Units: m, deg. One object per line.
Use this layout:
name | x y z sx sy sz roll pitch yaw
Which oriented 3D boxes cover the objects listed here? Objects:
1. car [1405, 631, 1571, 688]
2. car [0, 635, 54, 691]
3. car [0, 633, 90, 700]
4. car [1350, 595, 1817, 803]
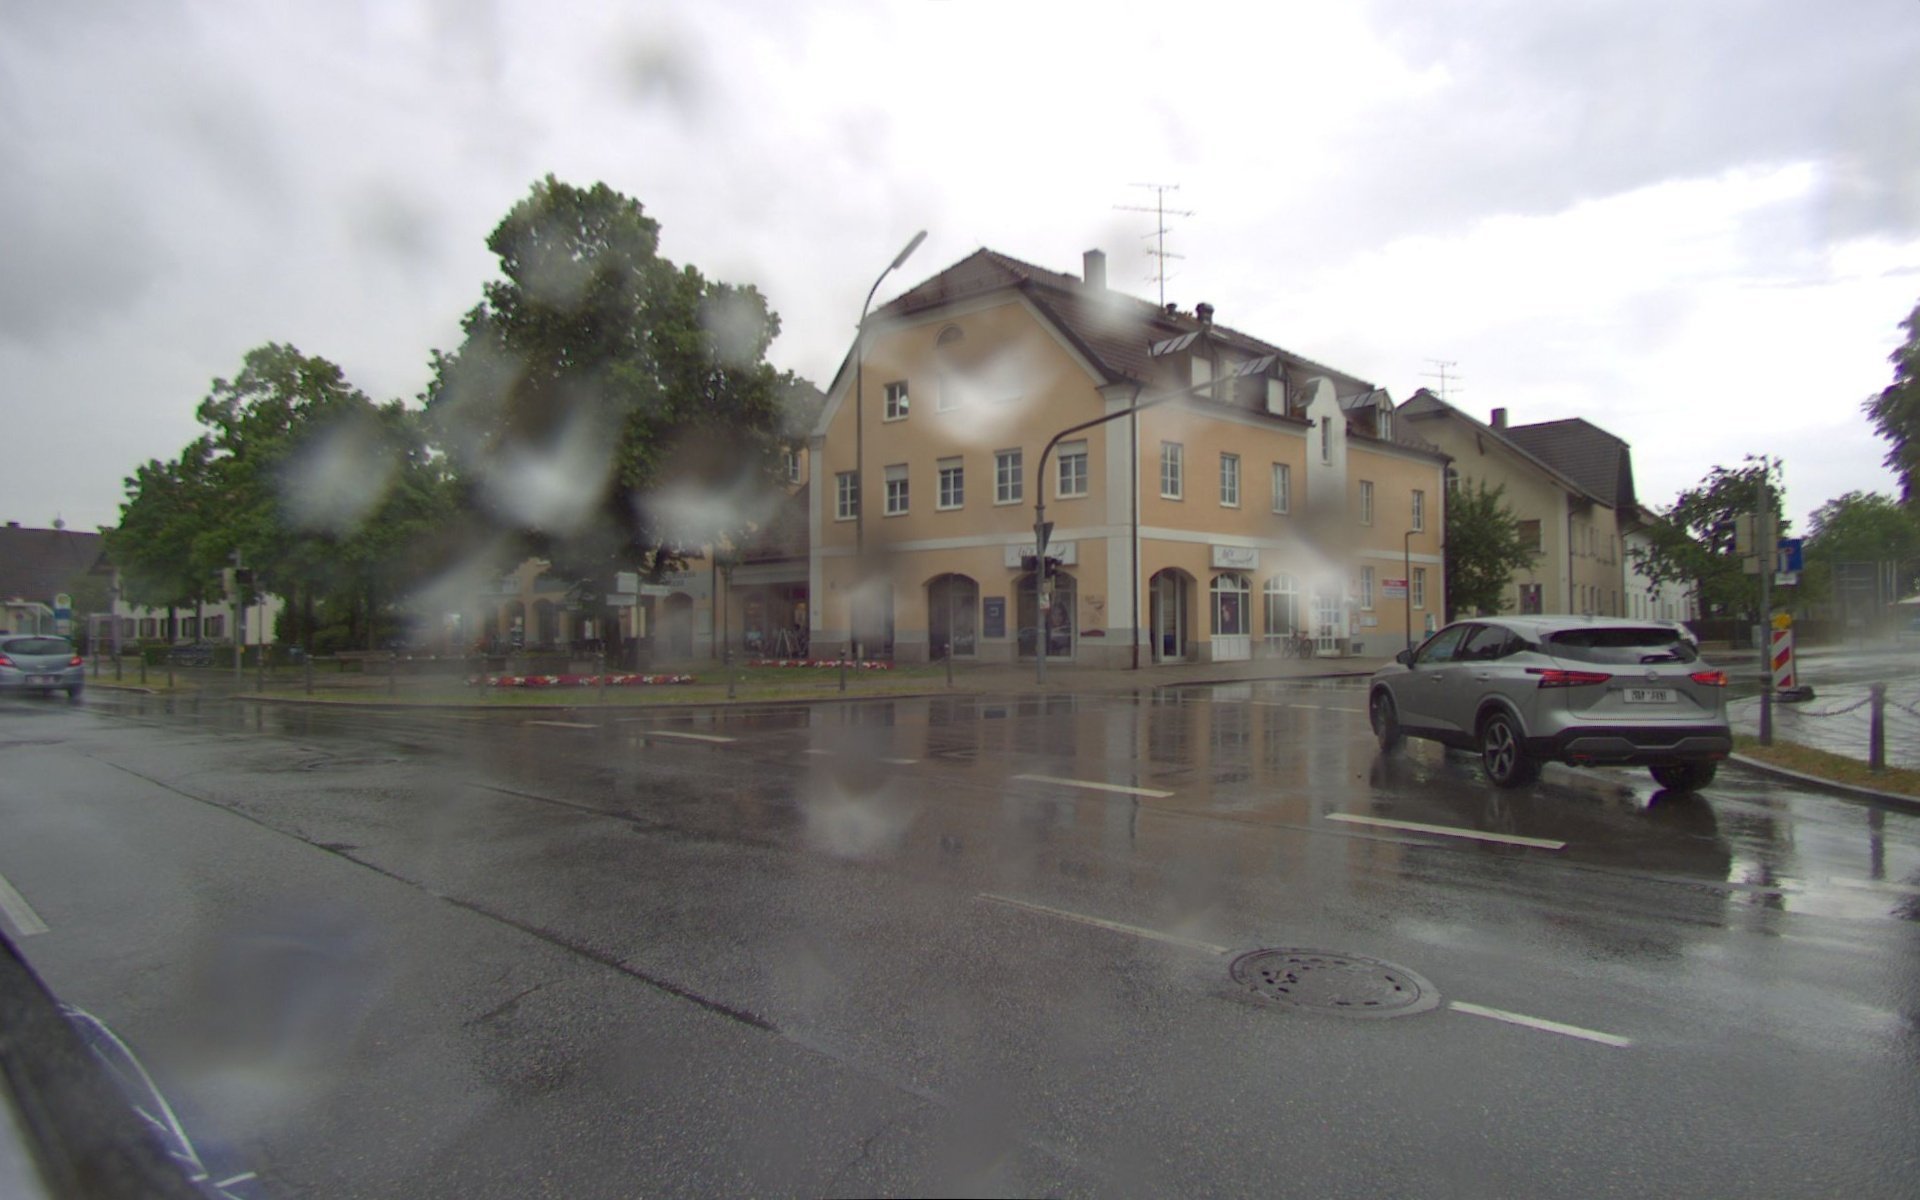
car | 12.491 1.347 23.865 4.288 1.194 1.693 1 -2 -35
car | -26.976 1.713 28.224 4.099 1.466 1.850 -1 -2 38
car | -22.515 1.521 24.183 4.099 1.466 1.850 -1 -2 38
car | 5.999 0.893 10.568 2.059 1.686 4.387 1 -2 -1
